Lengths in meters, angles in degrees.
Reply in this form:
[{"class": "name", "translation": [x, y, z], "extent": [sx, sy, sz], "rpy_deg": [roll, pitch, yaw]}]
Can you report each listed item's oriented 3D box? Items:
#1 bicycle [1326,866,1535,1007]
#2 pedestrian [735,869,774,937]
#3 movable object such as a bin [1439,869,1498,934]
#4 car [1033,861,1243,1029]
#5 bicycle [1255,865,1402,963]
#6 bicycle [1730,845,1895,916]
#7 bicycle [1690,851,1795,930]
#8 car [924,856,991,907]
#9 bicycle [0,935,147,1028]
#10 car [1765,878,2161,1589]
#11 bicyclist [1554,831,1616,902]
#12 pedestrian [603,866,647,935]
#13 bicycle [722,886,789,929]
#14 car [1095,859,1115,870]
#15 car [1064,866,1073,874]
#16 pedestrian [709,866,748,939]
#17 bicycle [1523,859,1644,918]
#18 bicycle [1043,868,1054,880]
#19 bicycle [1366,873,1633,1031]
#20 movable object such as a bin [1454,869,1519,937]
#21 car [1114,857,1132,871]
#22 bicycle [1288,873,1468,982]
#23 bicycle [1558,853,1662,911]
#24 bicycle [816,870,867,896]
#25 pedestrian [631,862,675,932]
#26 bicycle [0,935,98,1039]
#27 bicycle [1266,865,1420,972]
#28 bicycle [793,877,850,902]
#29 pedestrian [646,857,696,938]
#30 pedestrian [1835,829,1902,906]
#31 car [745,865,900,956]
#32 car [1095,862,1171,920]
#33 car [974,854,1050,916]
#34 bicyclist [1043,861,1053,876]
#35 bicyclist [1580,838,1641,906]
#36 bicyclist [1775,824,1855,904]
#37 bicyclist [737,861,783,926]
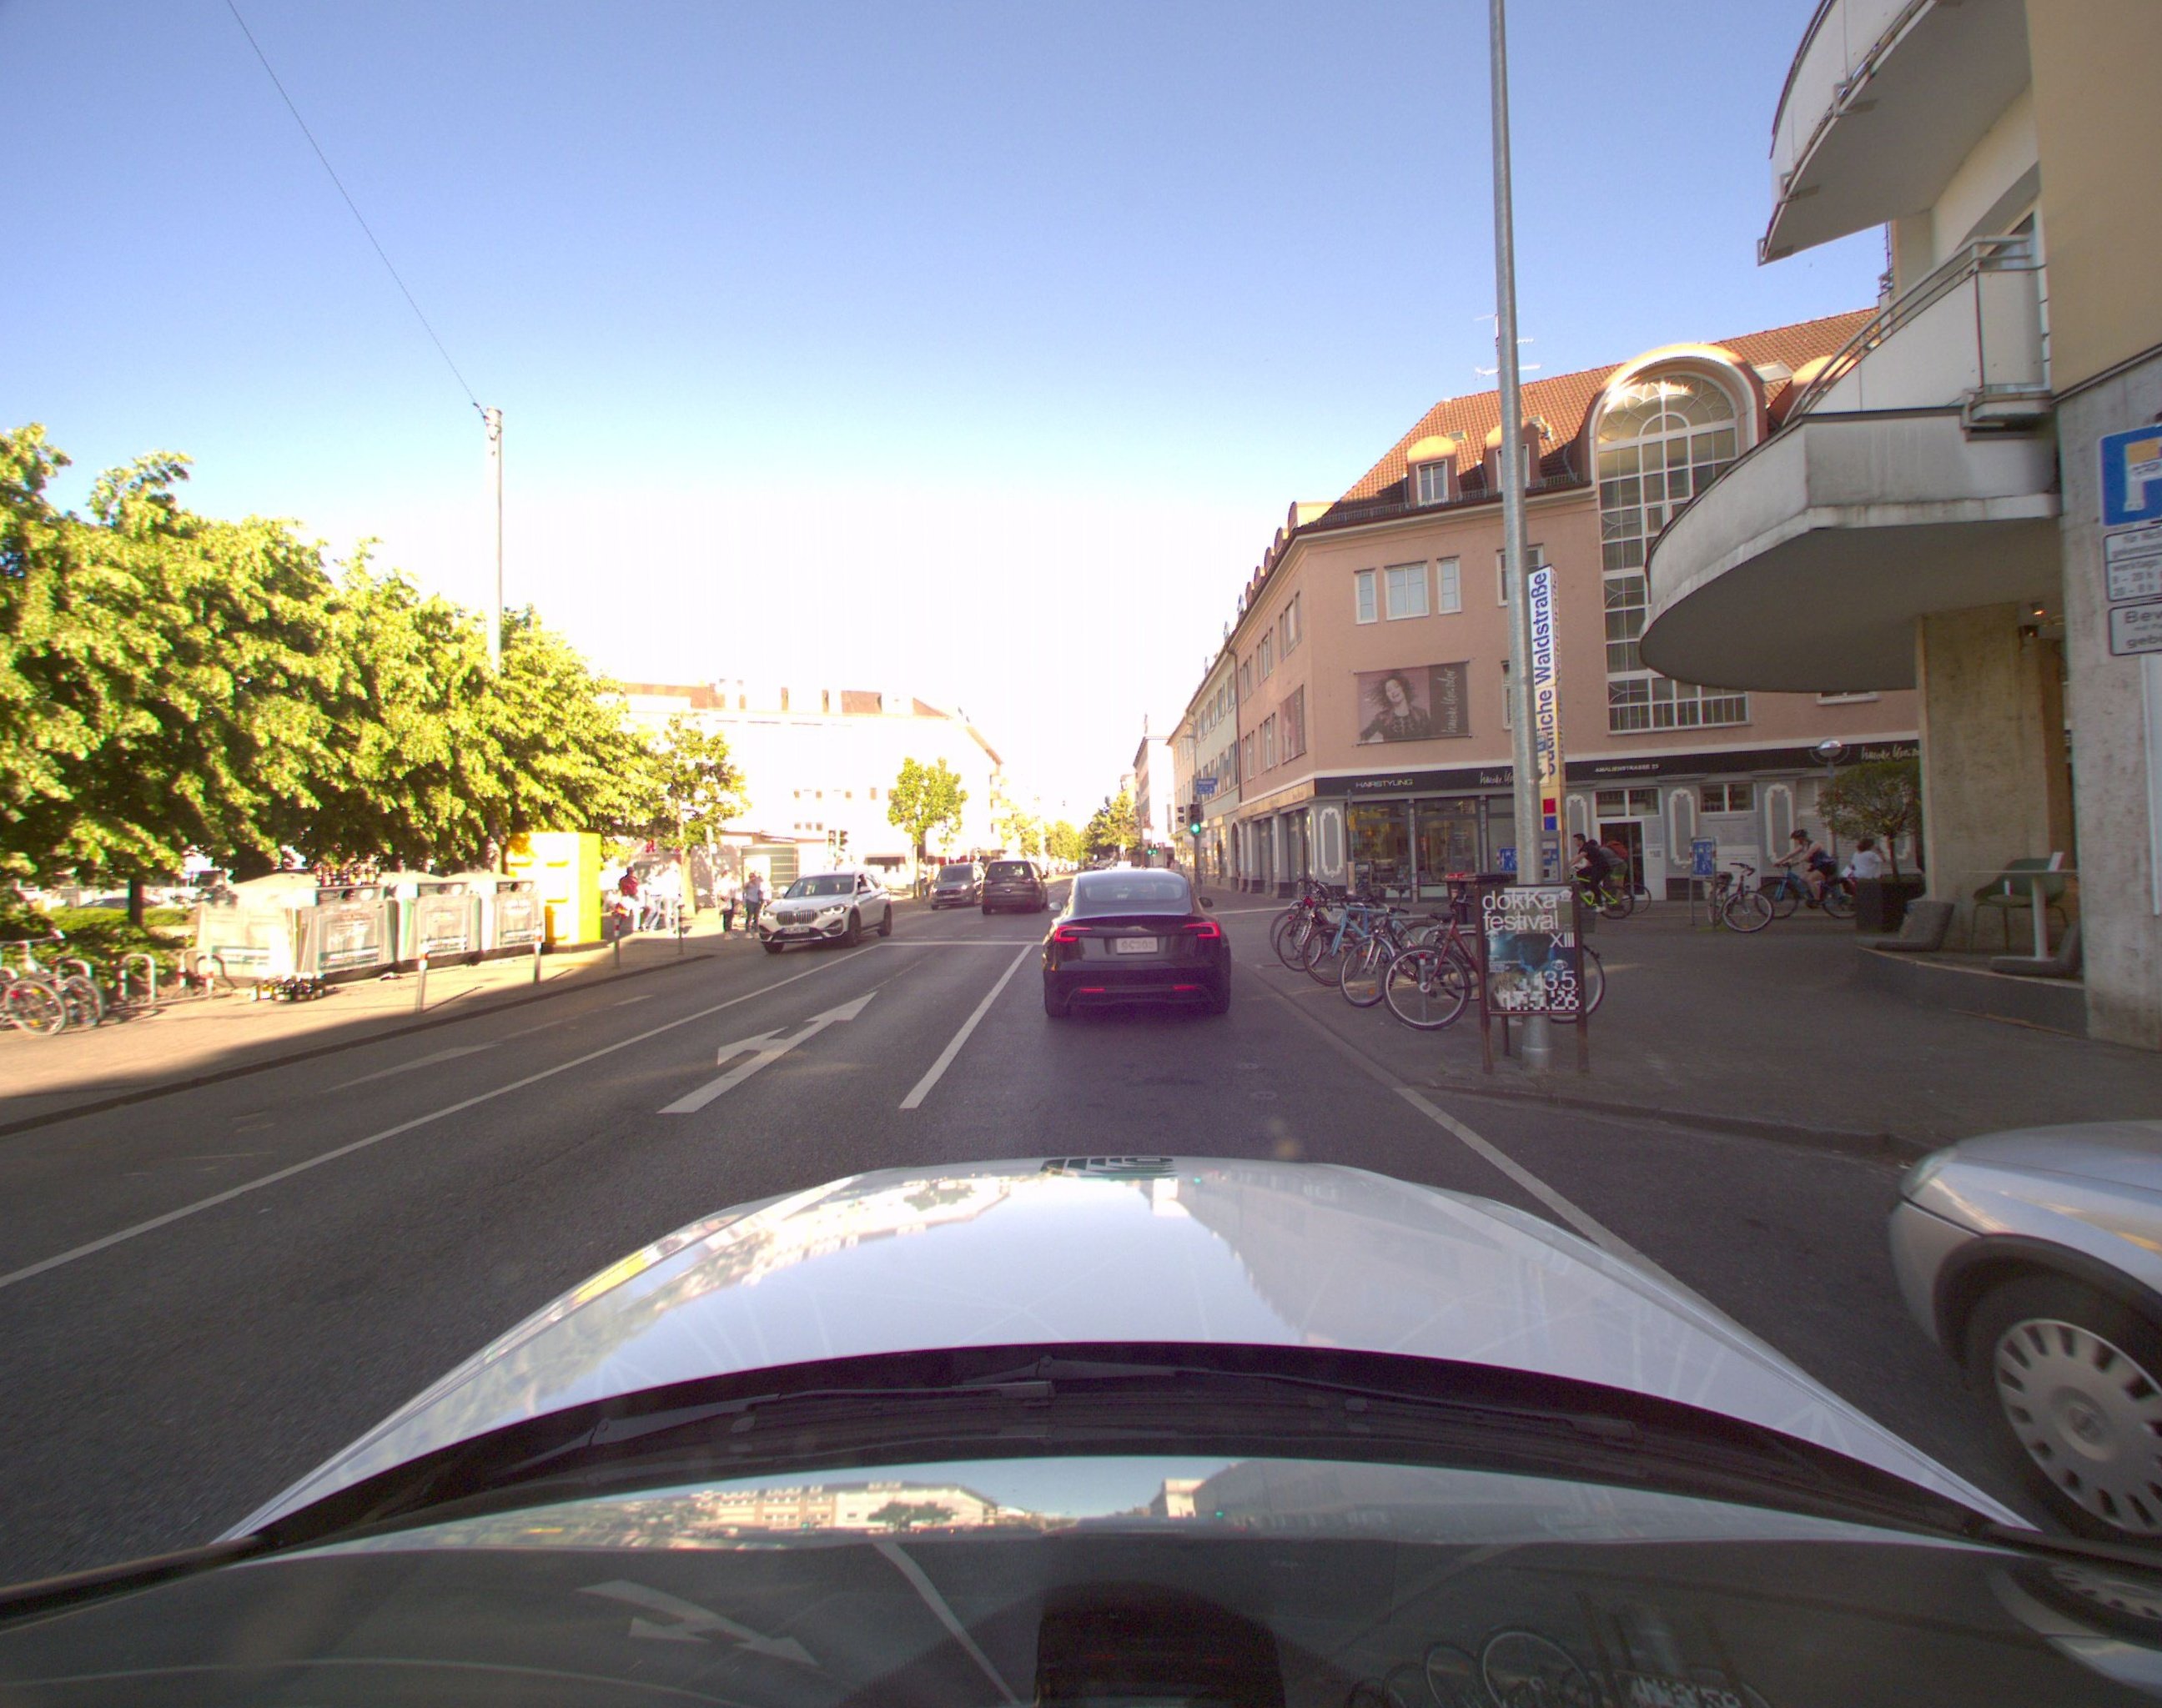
[{"class": "bicycle", "translation": [3.429, 0.801, 8.141], "extent": [1.713, 1.268, 0.792], "rpy_deg": [-3, -1, 7]}, {"class": "pedestrian", "translation": [-8.166, 1.216, 20.384], "extent": [0.676, 1.663, 0.625], "rpy_deg": [-2, -1, 37]}, {"class": "movable object such as a bin", "translation": [6.632, 0.801, 13.973], "extent": [0.730, 1.092, 0.628], "rpy_deg": [0, -1, 3]}, {"class": "car", "translation": [0.568, 0.846, 9.285], "extent": [1.841, 1.455, 4.001], "rpy_deg": [-1, -1, 2]}, {"class": "bicycle", "translation": [3.504, 0.843, 11.702], "extent": [1.851, 1.258, 0.834], "rpy_deg": [-3, -1, 7]}, {"class": "bicycle", "translation": [13.397, 0.493, 15.023], "extent": [2.151, 1.222, 0.685], "rpy_deg": [-2, -1, 33]}, {"class": "bicycle", "translation": [10.904, 0.570, 13.514], "extent": [0.653, 1.199, 2.223], "rpy_deg": [-2, -1, 21]}, {"class": "car", "translation": [-5.063, 1.080, 34.061], "extent": [1.827, 1.845, 4.675], "rpy_deg": [-5, -1, 1]}, {"class": "bicycle", "translation": [-11.475, 1.421, 9.137], "extent": [1.517, 0.958, 0.430], "rpy_deg": [-1, 0, 3]}, {"class": "car", "translation": [2.896, 0.749, 0.736], "extent": [1.607, 1.382, 3.644], "rpy_deg": [0, -1, 2]}, {"class": "bicyclist", "translation": [10.346, 0.259, 16.748], "extent": [0.915, 1.414, 0.810], "rpy_deg": [-2, -1, 20]}, {"class": "pedestrian", "translation": [-12.036, 1.205, 21.497], "extent": [0.885, 1.768, 0.657], "rpy_deg": [-2, -1, 32]}, {"class": "bicycle", "translation": [-9.382, 1.523, 23.454], "extent": [2.042, 1.139, 0.541], "rpy_deg": [0, 0, 25]}, {"class": "car", "translation": [4.802, 2.157, 164.647], "extent": [3.974, 2.014, 2.000], "rpy_deg": [-1, -1, 0]}, {"class": "car", "translation": [-2.831, 3.618, 184.321], "extent": [1.988, 1.637, 3.998], "rpy_deg": [-1, -1, -1]}, {"class": "pedestrian", "translation": [-8.600, 1.177, 19.873], "extent": [0.541, 1.728, 0.679], "rpy_deg": [-2, -1, 34]}, {"class": "bicycle", "translation": [10.292, 0.707, 16.767], "extent": [1.951, 1.149, 0.795], "rpy_deg": [-2, -1, 20]}, {"class": "bicycle", "translation": [-3.703, 2.278, 92.752], "extent": [1.108, 1.344, 3.998], "rpy_deg": [-1, -1, -1]}, {"class": "bicycle", "translation": [3.527, 0.819, 7.006], "extent": [1.876, 1.193, 0.693], "rpy_deg": [-3, 0, 7]}, {"class": "movable object such as a bin", "translation": [6.624, 0.791, 13.335], "extent": [0.749, 1.092, 0.628], "rpy_deg": [0, -1, 3]}, {"class": "car", "translation": [5.014, 1.229, 97.844], "extent": [1.986, 1.629, 4.001], "rpy_deg": [-1, -1, 2]}, {"class": "bicycle", "translation": [3.407, 0.840, 9.493], "extent": [1.788, 1.124, 0.783], "rpy_deg": [-3, -1, 7]}, {"class": "bicycle", "translation": [11.548, 0.610, 17.855], "extent": [1.778, 1.222, 0.684], "rpy_deg": [-2, -1, 20]}, {"class": "bicycle", "translation": [-13.068, 1.593, 44.456], "extent": [2.472, 1.324, 0.921], "rpy_deg": [-1, -1, -4]}, {"class": "pedestrian", "translation": [-11.598, 1.148, 22.071], "extent": [0.835, 1.827, 0.746], "rpy_deg": [-2, -1, 35]}, {"class": "bicycle", "translation": [-11.433, 1.400, 8.634], "extent": [1.561, 1.023, 0.430], "rpy_deg": [-1, -1, 2]}, {"class": "bicycle", "translation": [3.391, 0.824, 10.674], "extent": [1.738, 1.267, 0.782], "rpy_deg": [-3, -1, 4]}, {"class": "bicycle", "translation": [-12.738, 1.751, 39.978], "extent": [2.497, 1.156, 0.842], "rpy_deg": [-1, -1, 0]}, {"class": "pedestrian", "translation": [-10.192, 1.067, 20.263], "extent": [0.823, 1.955, 0.712], "rpy_deg": [0, -1, 13]}, {"class": "pedestrian", "translation": [16.252, 0.274, 16.831], "extent": [0.740, 1.552, 0.703], "rpy_deg": [-1, -1, 21]}, {"class": "car", "translation": [-5.421, 1.100, 17.704], "extent": [1.801, 1.555, 4.310], "rpy_deg": [-5, -1, 1]}, {"class": "car", "translation": [1.426, 1.023, 23.896], "extent": [1.987, 1.512, 4.175], "rpy_deg": [-1, -1, 0]}, {"class": "car", "translation": [-2.170, 0.956, 26.788], "extent": [1.987, 1.772, 4.728], "rpy_deg": [-2, -1, 0]}, {"class": "bicyclist", "translation": [-3.729, 1.663, 92.853], "extent": [1.123, 1.628, 0.965], "rpy_deg": [-1, -1, -2]}, {"class": "bicyclist", "translation": [11.581, 0.396, 17.849], "extent": [0.938, 1.449, 0.810], "rpy_deg": [-2, -1, 21]}, {"class": "bicyclist", "translation": [13.459, 0.194, 14.967], "extent": [0.914, 1.414, 0.811], "rpy_deg": [-2, -1, 32]}, {"class": "bicyclist", "translation": [-9.239, 1.126, 23.464], "extent": [0.941, 1.838, 0.793], "rpy_deg": [-1, -1, 25]}]
